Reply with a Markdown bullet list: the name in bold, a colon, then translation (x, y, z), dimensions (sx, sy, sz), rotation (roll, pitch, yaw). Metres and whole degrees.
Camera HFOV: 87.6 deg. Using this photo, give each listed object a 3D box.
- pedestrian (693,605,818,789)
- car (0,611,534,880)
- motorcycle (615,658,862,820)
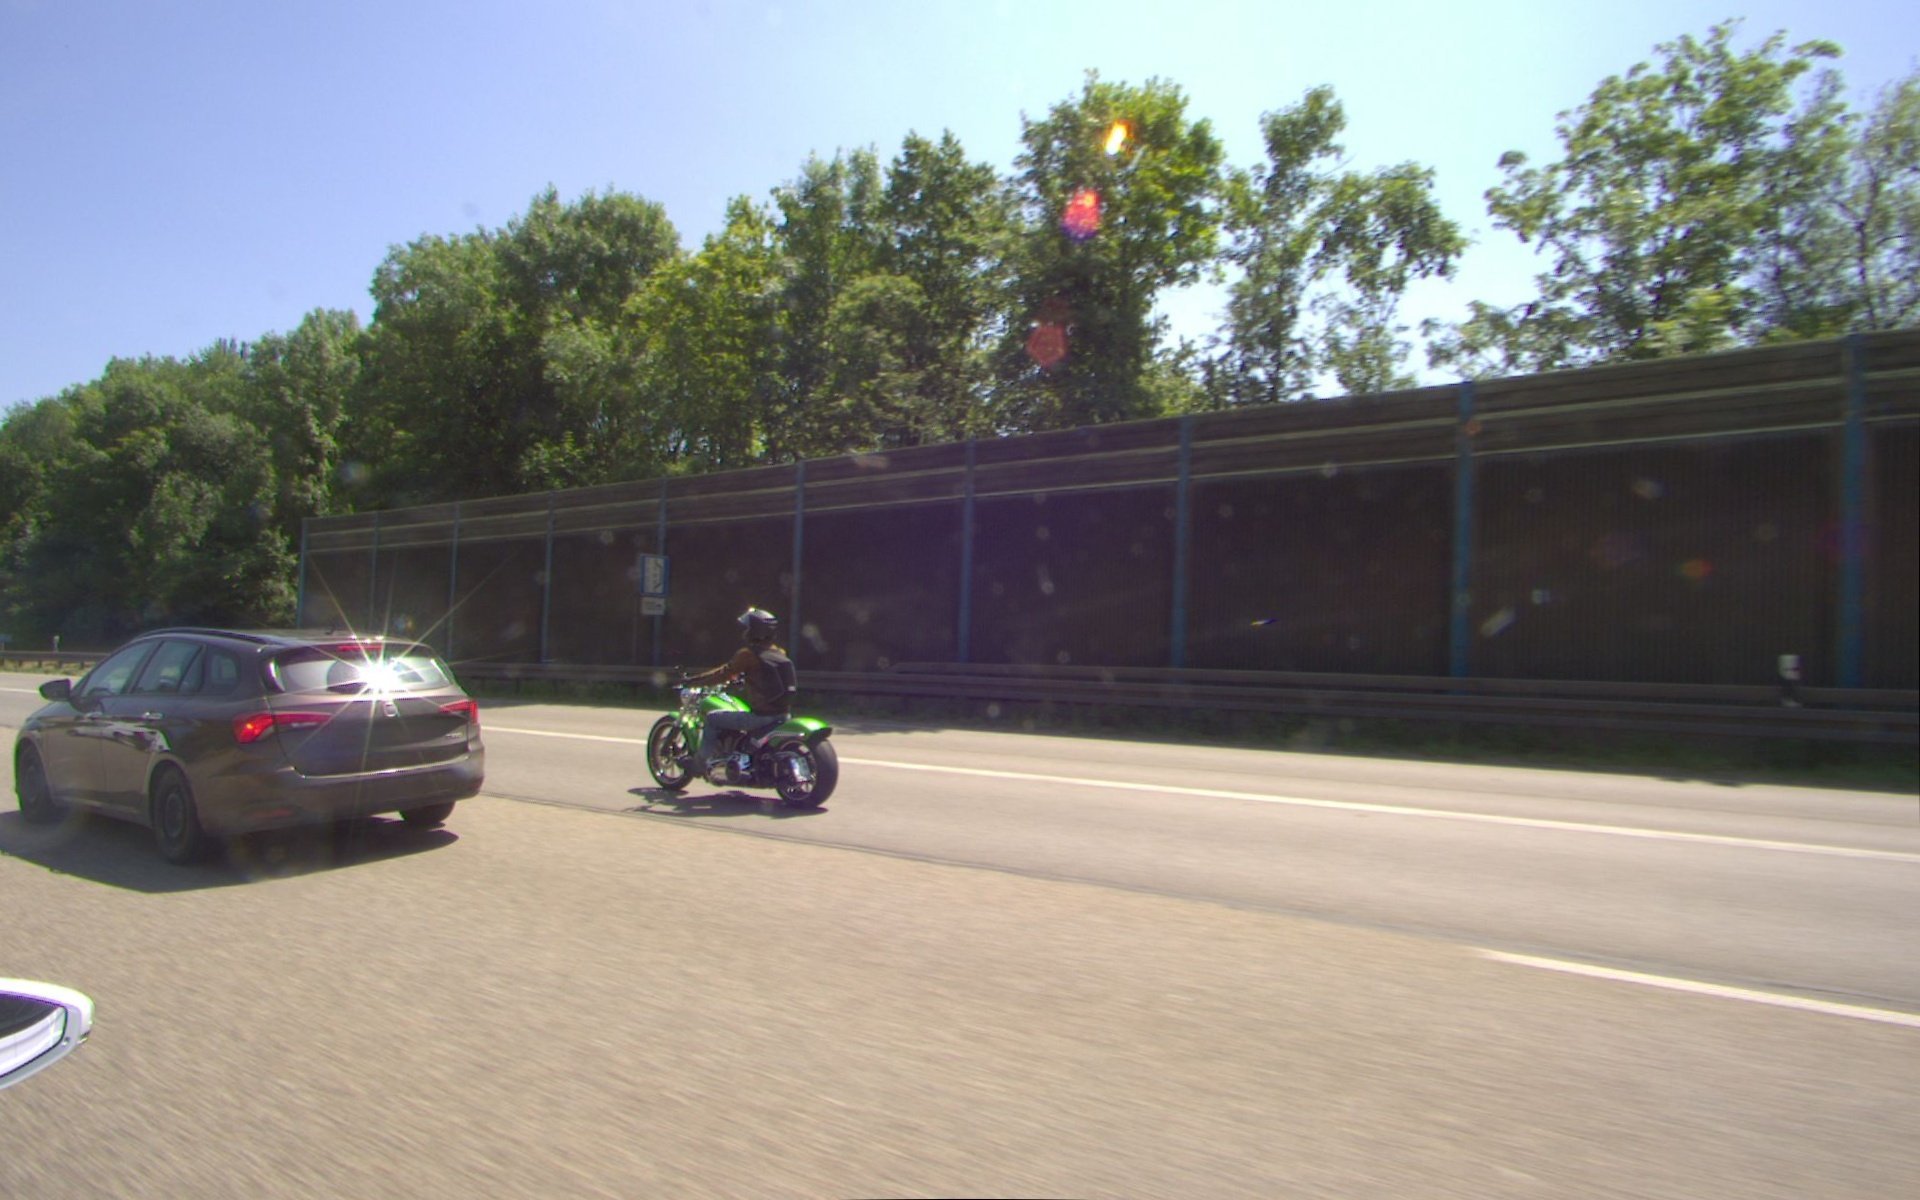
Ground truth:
- **pedestrian**: translation (-1.766, 0.807, 8.707), dimensions (0.630, 1.498, 0.849), rotation (0, -1, 36)
- **car**: translation (-5.438, 0.879, 7.688), dimensions (4.338, 1.532, 1.835), rotation (0, -2, 32)
- **motorcycle**: translation (-2.002, 1.149, 8.875), dimensions (2.246, 1.197, 0.857), rotation (0, -1, 36)
